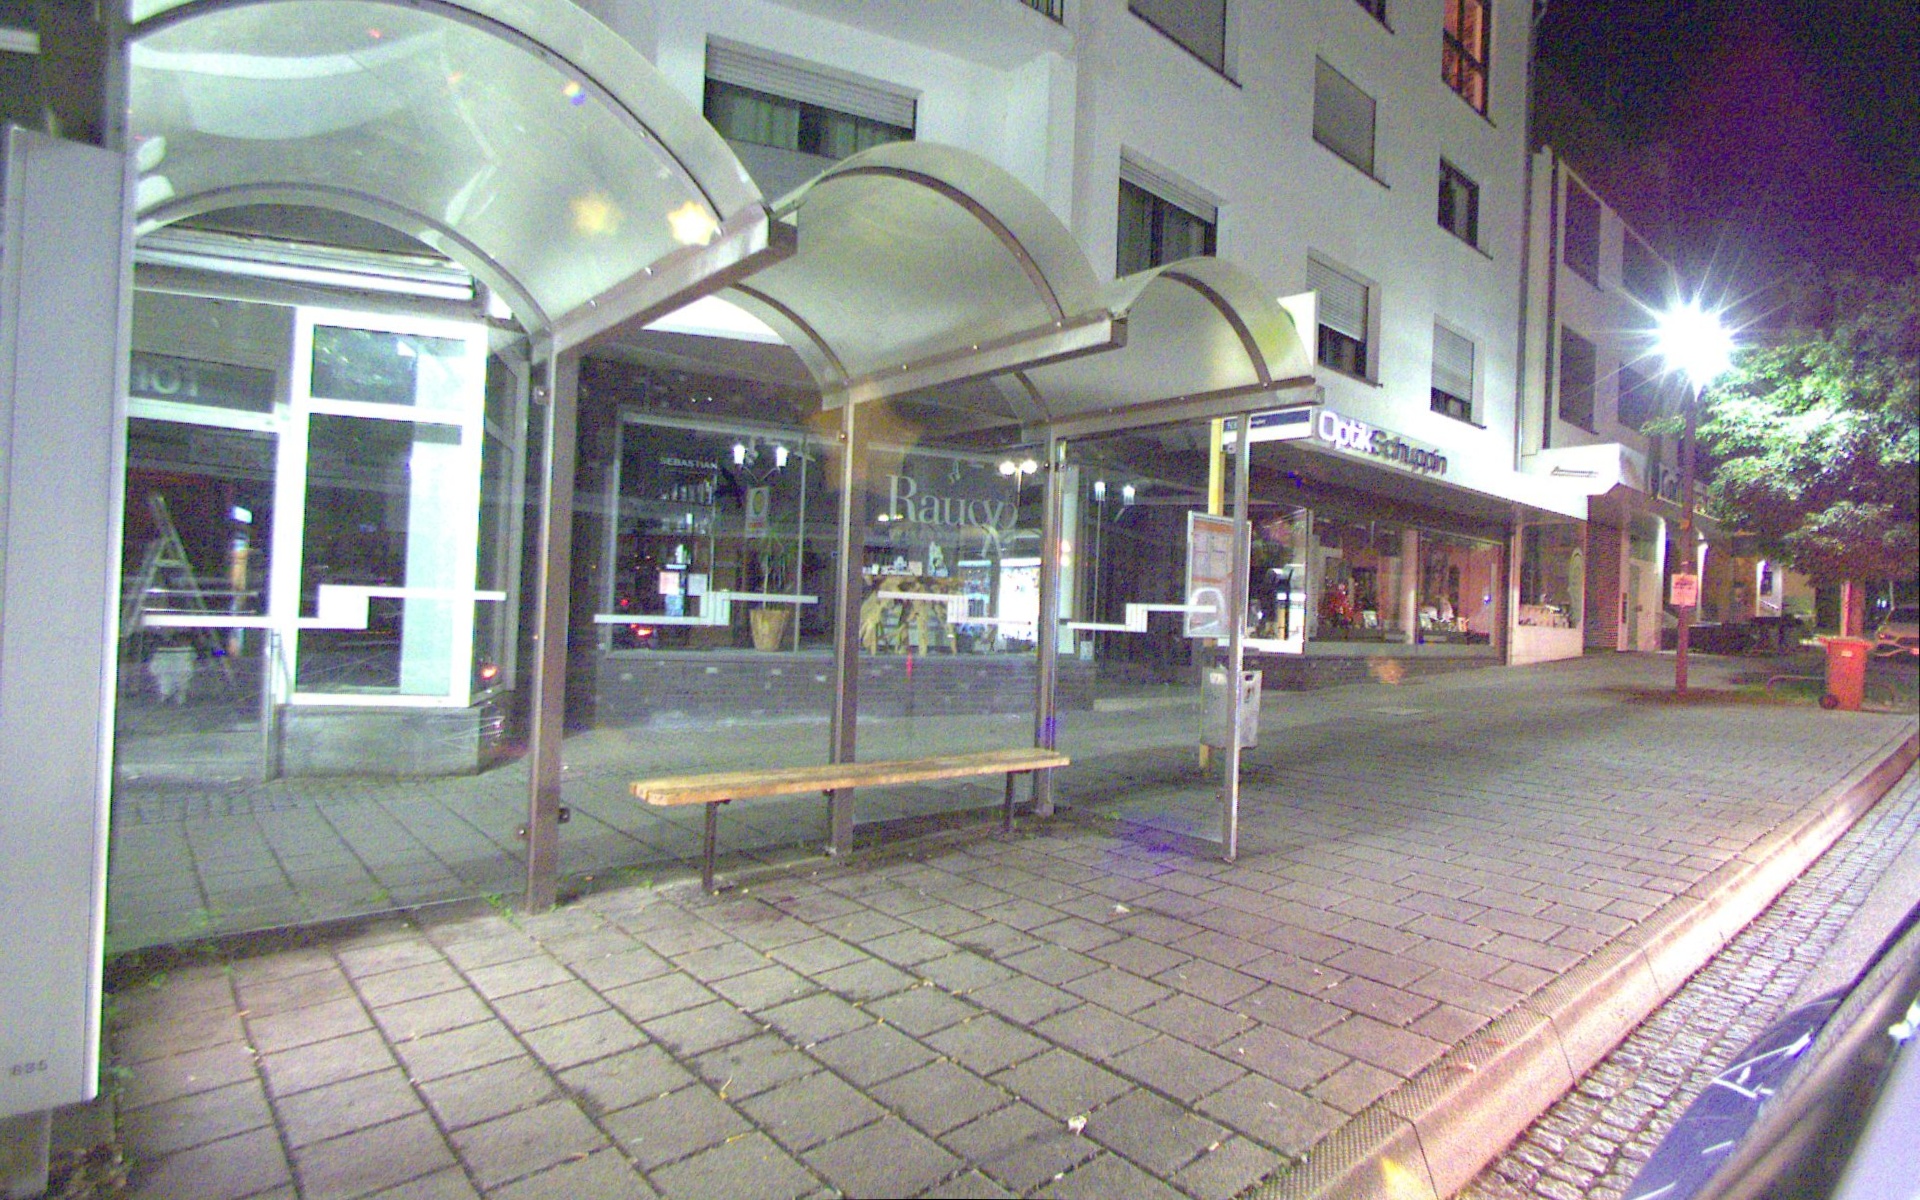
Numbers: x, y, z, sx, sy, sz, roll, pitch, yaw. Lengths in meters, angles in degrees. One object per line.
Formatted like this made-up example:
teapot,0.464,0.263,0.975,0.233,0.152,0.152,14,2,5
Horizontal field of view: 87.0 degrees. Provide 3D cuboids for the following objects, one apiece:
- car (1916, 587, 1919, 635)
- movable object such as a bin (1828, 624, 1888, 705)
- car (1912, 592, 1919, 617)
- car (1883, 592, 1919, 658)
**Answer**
car,35.230,0.409,35.905,1.788,1.661,4.309,4,3,44
movable object such as a bin,11.338,0.800,12.792,0.523,0.949,0.621,0,1,38
car,59.723,0.257,62.257,1.638,1.485,3.717,-1,0,43
car,23.751,0.581,24.455,4.519,1.459,1.859,-1,3,-45
